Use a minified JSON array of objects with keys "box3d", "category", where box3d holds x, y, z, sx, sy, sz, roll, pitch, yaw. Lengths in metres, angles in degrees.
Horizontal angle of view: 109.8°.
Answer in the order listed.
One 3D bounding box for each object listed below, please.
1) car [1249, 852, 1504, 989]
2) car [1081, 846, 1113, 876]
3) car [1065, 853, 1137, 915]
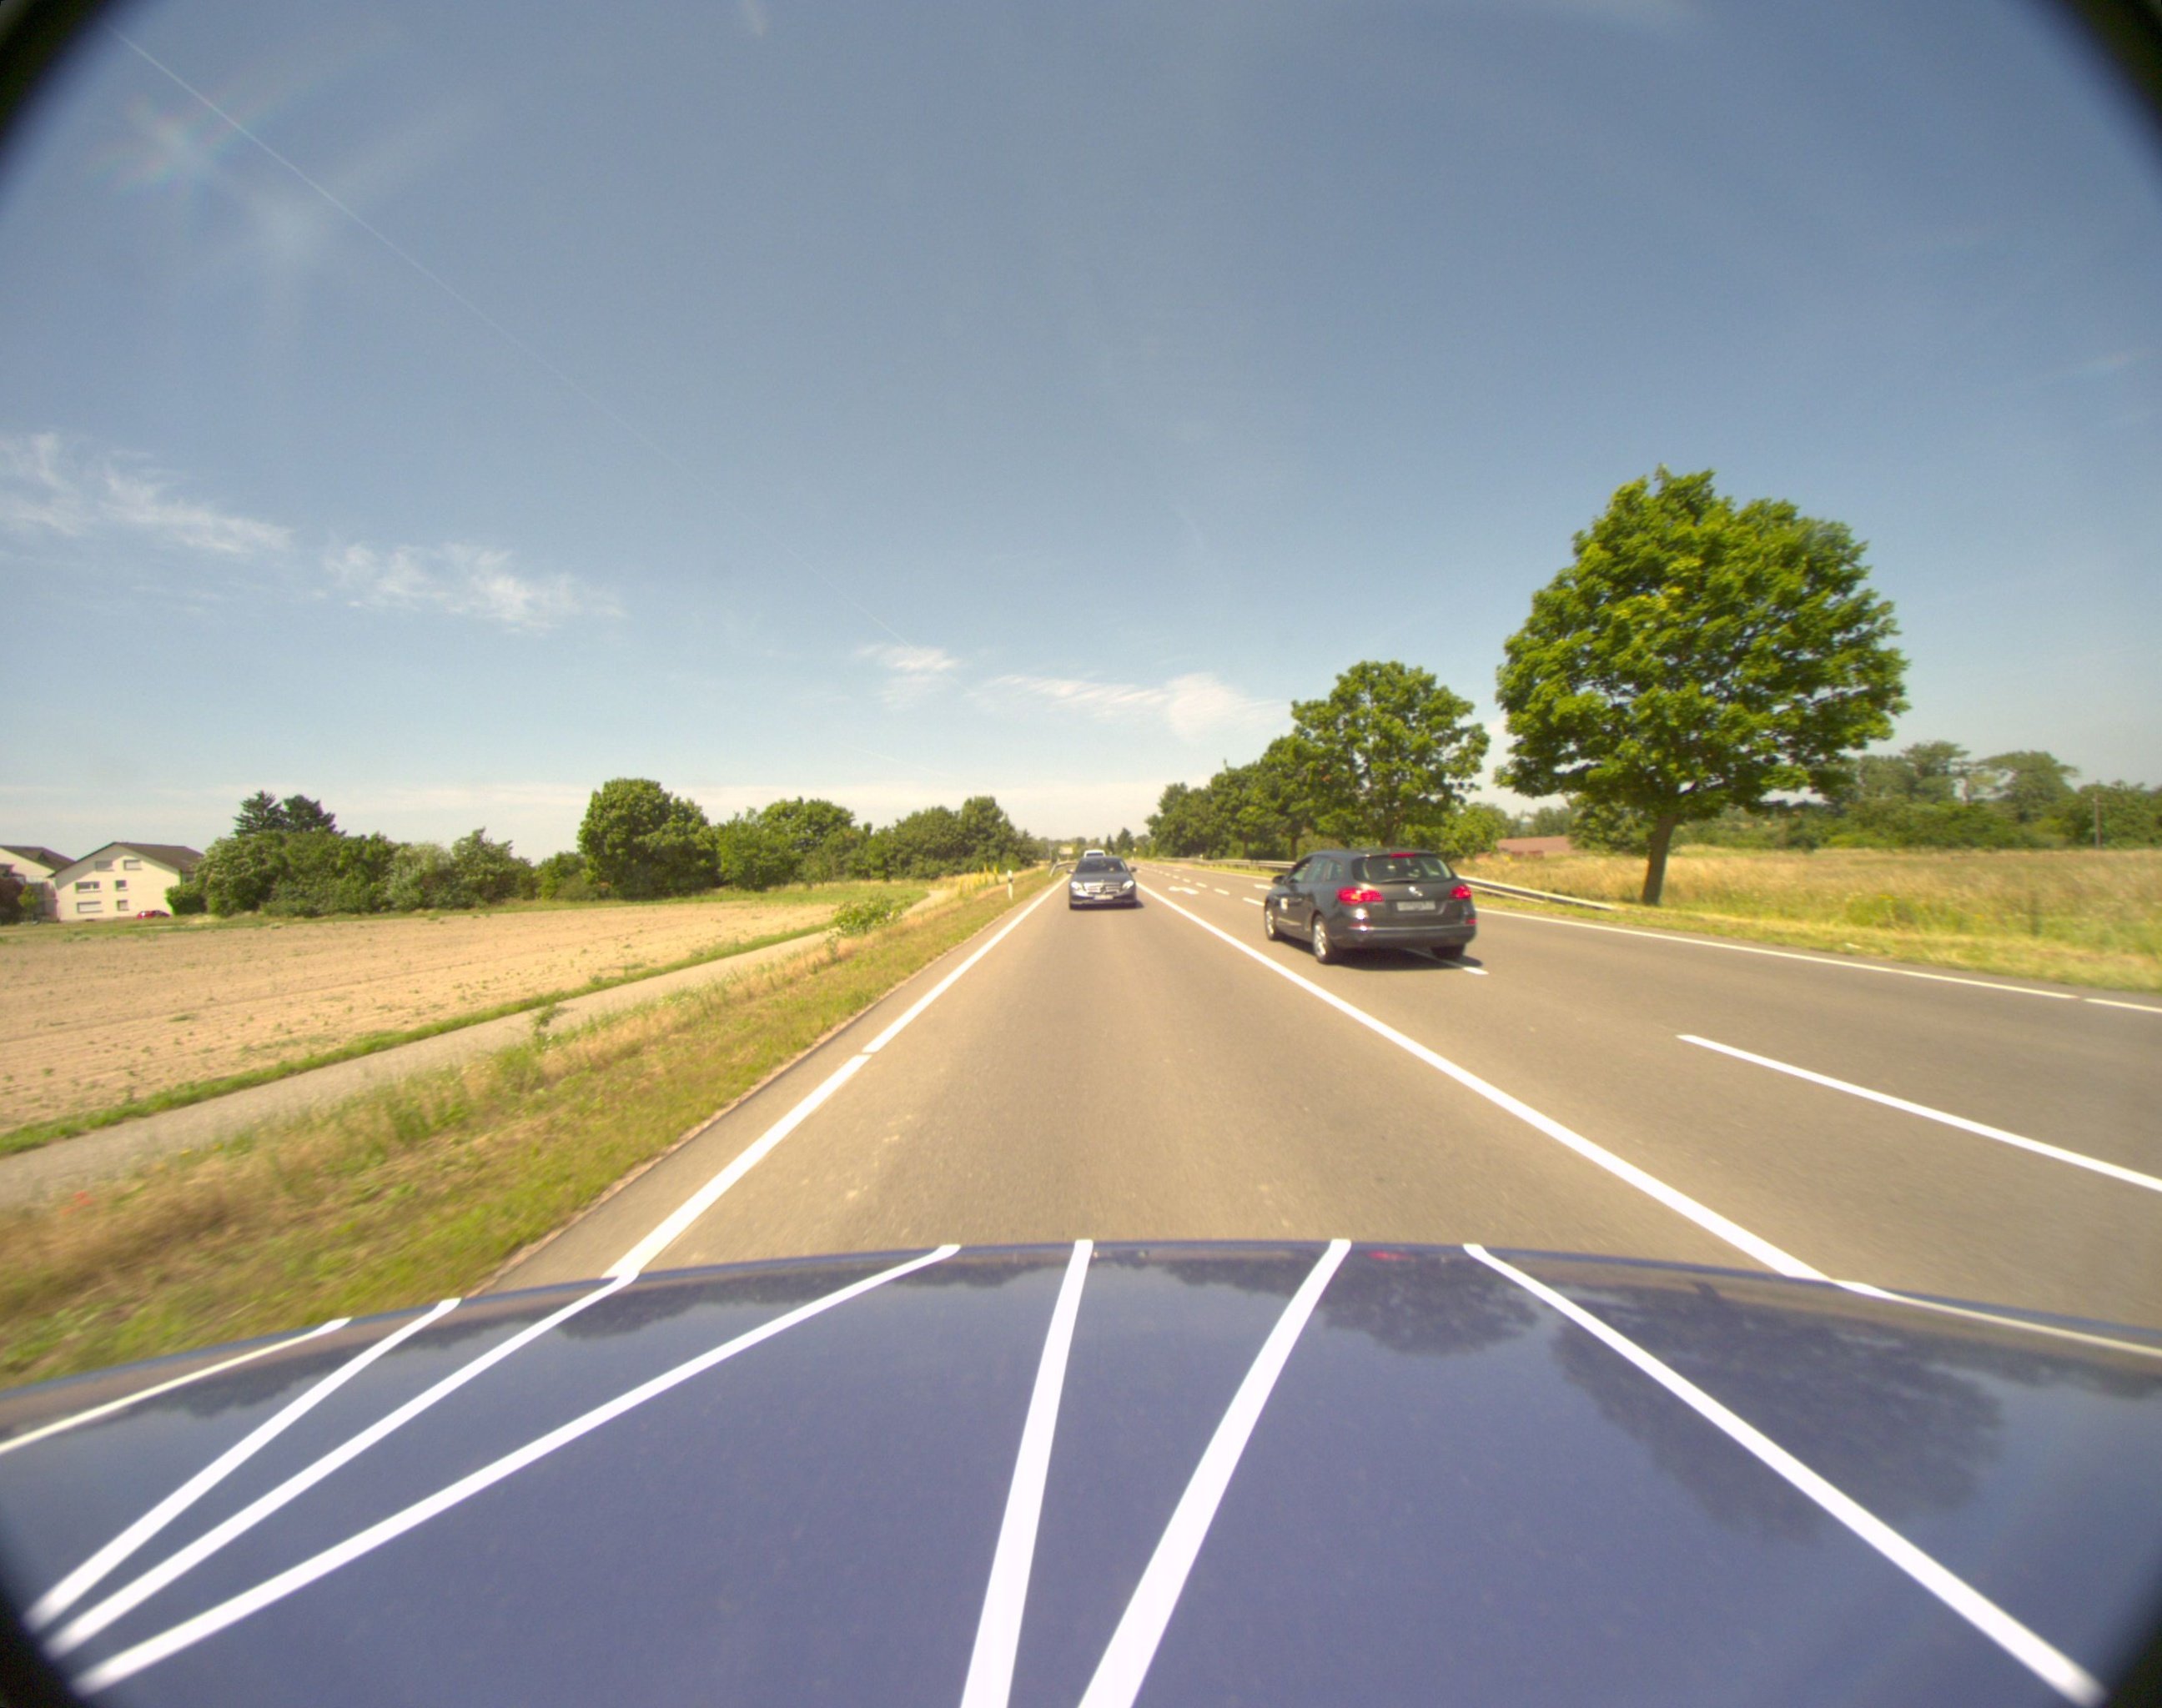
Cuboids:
[{"box3d":[3.826,0.736,10.811,1.744,1.465,4.617,-2,0,-1],"category":"car"},{"box3d":[1.308,0.522,60.539,2.179,2.002,5.026,-6,0,3],"category":"car"},{"box3d":[0.683,0.796,22.361,1.831,1.540,4.500,-3,0,4],"category":"car"}]
